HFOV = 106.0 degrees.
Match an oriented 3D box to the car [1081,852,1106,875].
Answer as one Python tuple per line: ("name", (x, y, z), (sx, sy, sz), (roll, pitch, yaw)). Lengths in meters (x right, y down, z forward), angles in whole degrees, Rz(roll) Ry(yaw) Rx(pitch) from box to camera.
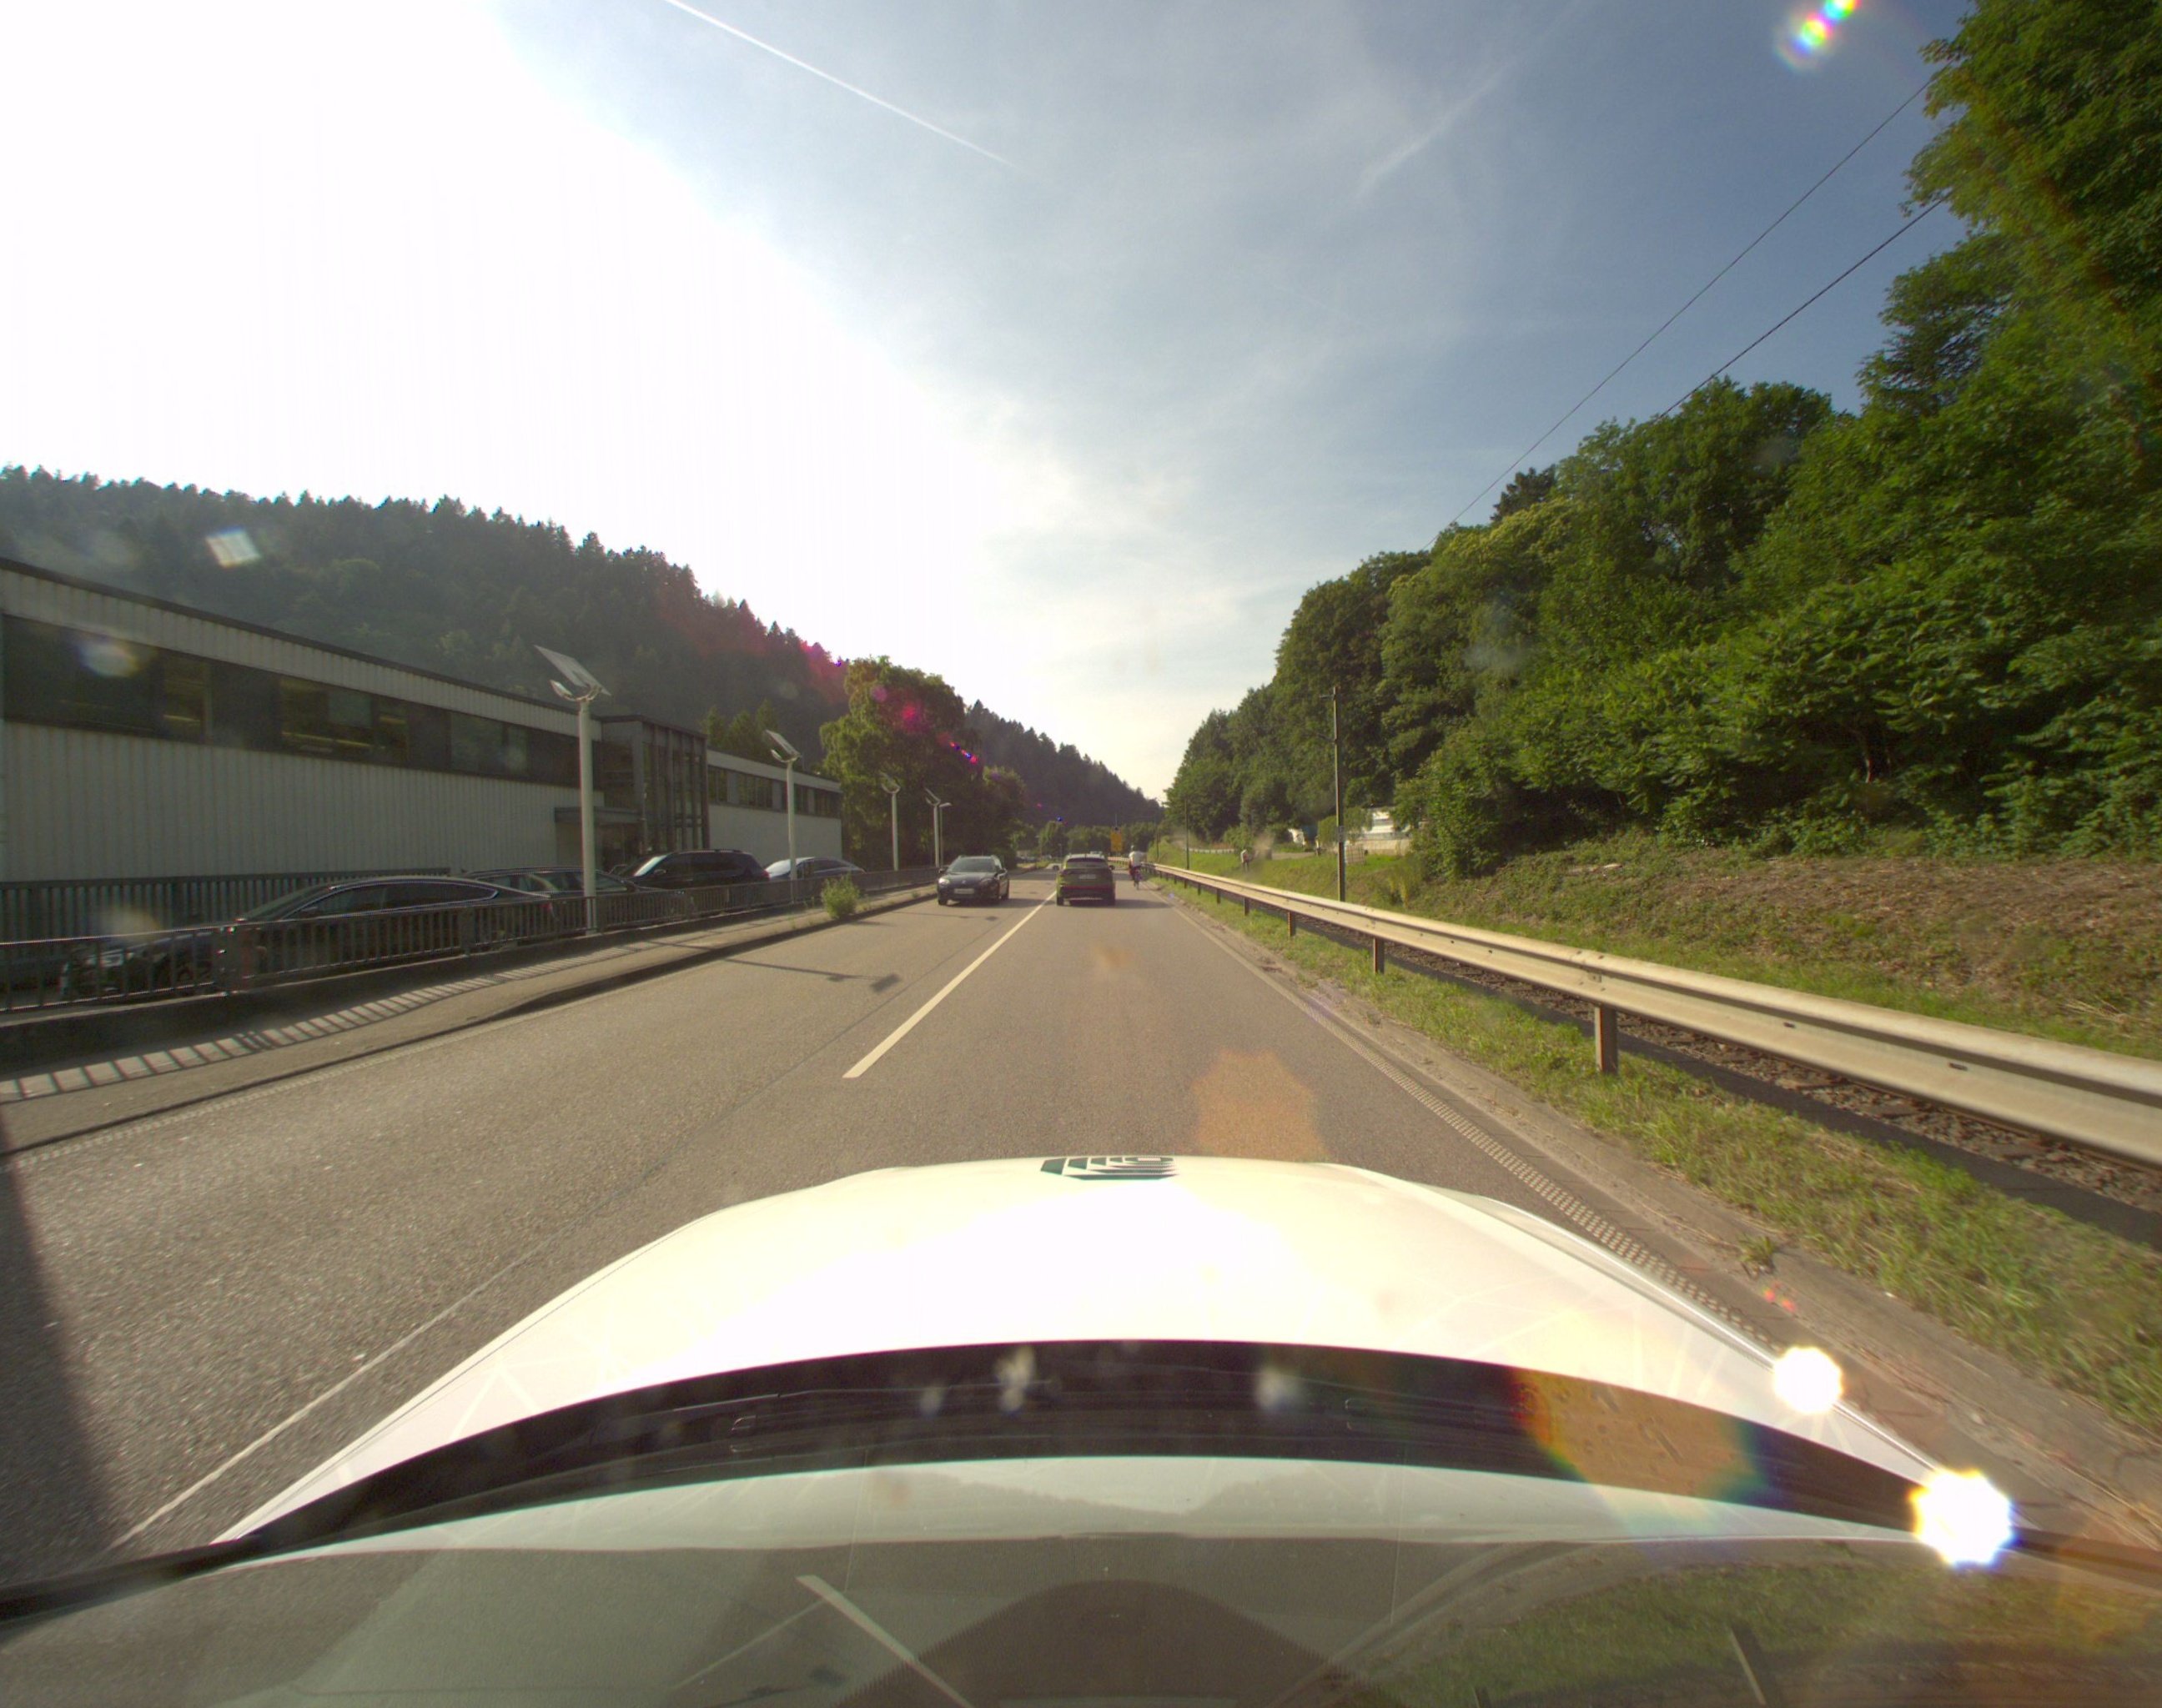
("car", (0.910, 0.657, 58.946), (1.733, 1.602, 4.000), (-1, 0, 0))

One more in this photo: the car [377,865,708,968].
("car", (-9.575, 1.008, 14.974), (1.690, 1.439, 4.765), (-2, 0, 31))

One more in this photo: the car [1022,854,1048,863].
("car", (-7.699, 0.722, 137.401), (4.243, 1.433, 1.557), (-1, 0, 1))

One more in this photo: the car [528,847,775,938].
("car", (-9.943, 0.796, 19.246), (1.974, 1.741, 4.721), (-2, 1, 34))

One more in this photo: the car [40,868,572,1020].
("car", (-9.669, 0.970, 10.713), (1.690, 1.375, 4.765), (-2, 0, 31))

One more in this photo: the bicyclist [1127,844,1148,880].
("bicyclist", (2.308, 0.322, 33.358), (0.779, 1.412, 0.675), (-1, 0, -1))

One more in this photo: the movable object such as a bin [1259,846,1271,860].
("movable object such as a bin", (15.323, -0.075, 67.823), (0.850, 1.107, 0.936), (-1, 0, 7))

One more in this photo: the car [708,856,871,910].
("car", (-9.165, 0.853, 26.110), (1.975, 1.562, 4.881), (-1, -1, 26))

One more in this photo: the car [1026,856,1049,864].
("car", (-8.457, 1.240, 158.391), (4.243, 1.433, 1.557), (-1, 0, 1))

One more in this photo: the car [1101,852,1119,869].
("car", (2.973, 0.685, 84.202), (1.734, 1.602, 4.000), (-3, 0, 0))

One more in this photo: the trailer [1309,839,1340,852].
("trailer", (24.418, -0.830, 81.797), (2.060, 1.192, 3.713), (0, -1, -1))

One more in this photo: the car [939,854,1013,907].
("car", (-3.179, 0.752, 25.373), (1.671, 1.485, 4.247), (1, 0, 1))

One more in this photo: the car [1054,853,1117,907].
("car", (0.147, 0.727, 24.849), (1.733, 1.508, 4.000), (-1, 0, 0))

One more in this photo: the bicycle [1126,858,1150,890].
("bicycle", (2.315, 0.811, 33.352), (0.809, 1.250, 2.122), (-1, 0, -1))
